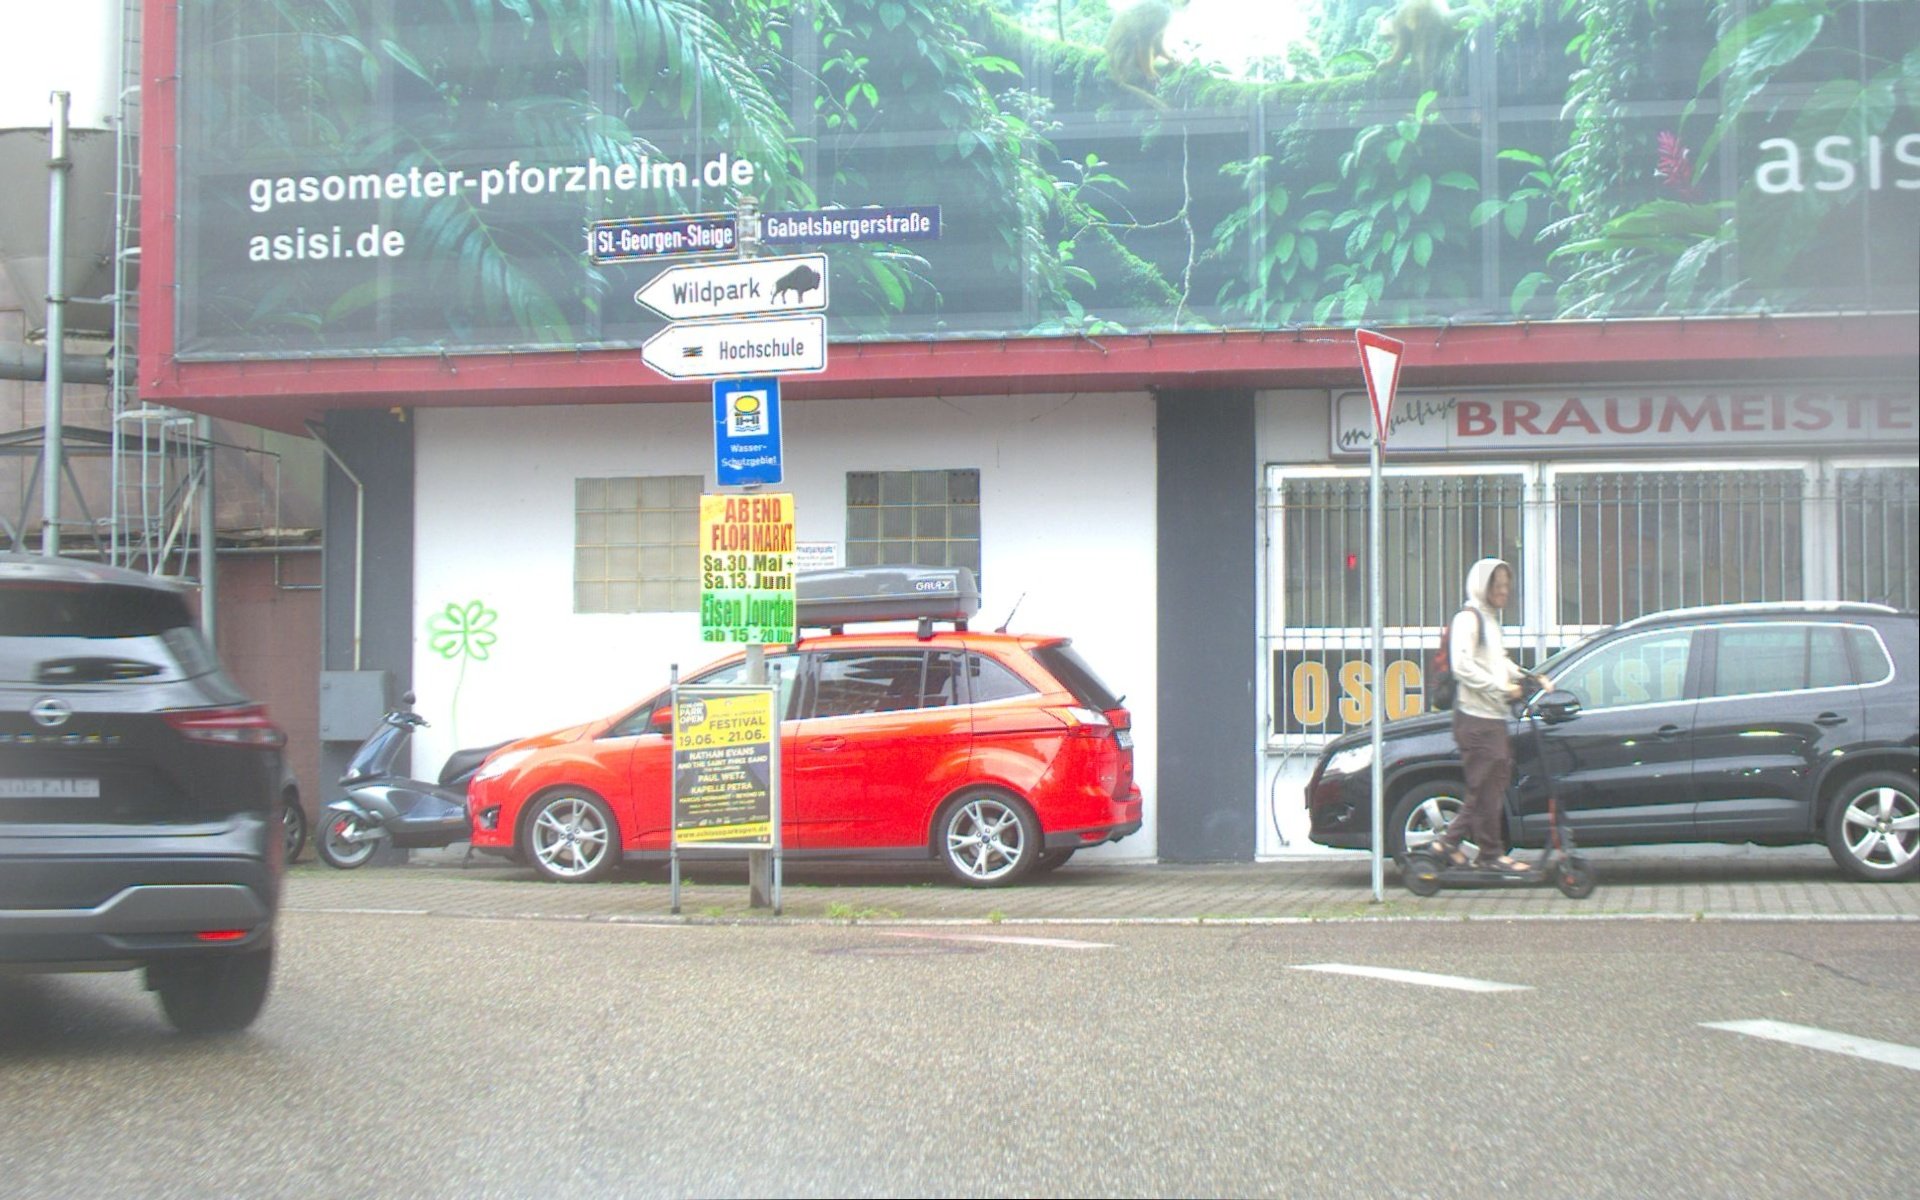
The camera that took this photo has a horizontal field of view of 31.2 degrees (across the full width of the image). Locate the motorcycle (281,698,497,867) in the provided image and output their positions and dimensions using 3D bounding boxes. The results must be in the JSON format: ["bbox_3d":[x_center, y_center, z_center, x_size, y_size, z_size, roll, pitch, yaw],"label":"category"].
[{"bbox_3d":[-4.008,1.279,24.178,1.418,1.157,0.452,1,-3,0],"label":"motorcycle"}]

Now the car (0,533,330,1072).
[{"bbox_3d":[-3.704,0.607,11.882,1.881,1.588,3.921,0,0,-28],"label":"car"}]

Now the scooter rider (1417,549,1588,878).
[{"bbox_3d":[3.082,0.629,19.496,0.780,1.815,0.804,-1,-1,22],"label":"scooter rider"}]

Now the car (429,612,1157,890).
[{"bbox_3d":[-1.064,0.974,22.935,4.480,1.706,1.931,0,-2,13],"label":"car"}]

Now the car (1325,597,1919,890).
[{"bbox_3d":[4.387,0.878,21.366,3.989,1.706,1.931,-1,-1,13],"label":"car"}]

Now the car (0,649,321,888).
[{"bbox_3d":[-6.336,1.182,25.581,1.870,1.528,3.991,1,0,9],"label":"car"}]

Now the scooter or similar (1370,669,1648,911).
[{"bbox_3d":[3.115,1.054,19.475,1.405,1.318,0.804,0,-1,22],"label":"scooter or similar"}]
